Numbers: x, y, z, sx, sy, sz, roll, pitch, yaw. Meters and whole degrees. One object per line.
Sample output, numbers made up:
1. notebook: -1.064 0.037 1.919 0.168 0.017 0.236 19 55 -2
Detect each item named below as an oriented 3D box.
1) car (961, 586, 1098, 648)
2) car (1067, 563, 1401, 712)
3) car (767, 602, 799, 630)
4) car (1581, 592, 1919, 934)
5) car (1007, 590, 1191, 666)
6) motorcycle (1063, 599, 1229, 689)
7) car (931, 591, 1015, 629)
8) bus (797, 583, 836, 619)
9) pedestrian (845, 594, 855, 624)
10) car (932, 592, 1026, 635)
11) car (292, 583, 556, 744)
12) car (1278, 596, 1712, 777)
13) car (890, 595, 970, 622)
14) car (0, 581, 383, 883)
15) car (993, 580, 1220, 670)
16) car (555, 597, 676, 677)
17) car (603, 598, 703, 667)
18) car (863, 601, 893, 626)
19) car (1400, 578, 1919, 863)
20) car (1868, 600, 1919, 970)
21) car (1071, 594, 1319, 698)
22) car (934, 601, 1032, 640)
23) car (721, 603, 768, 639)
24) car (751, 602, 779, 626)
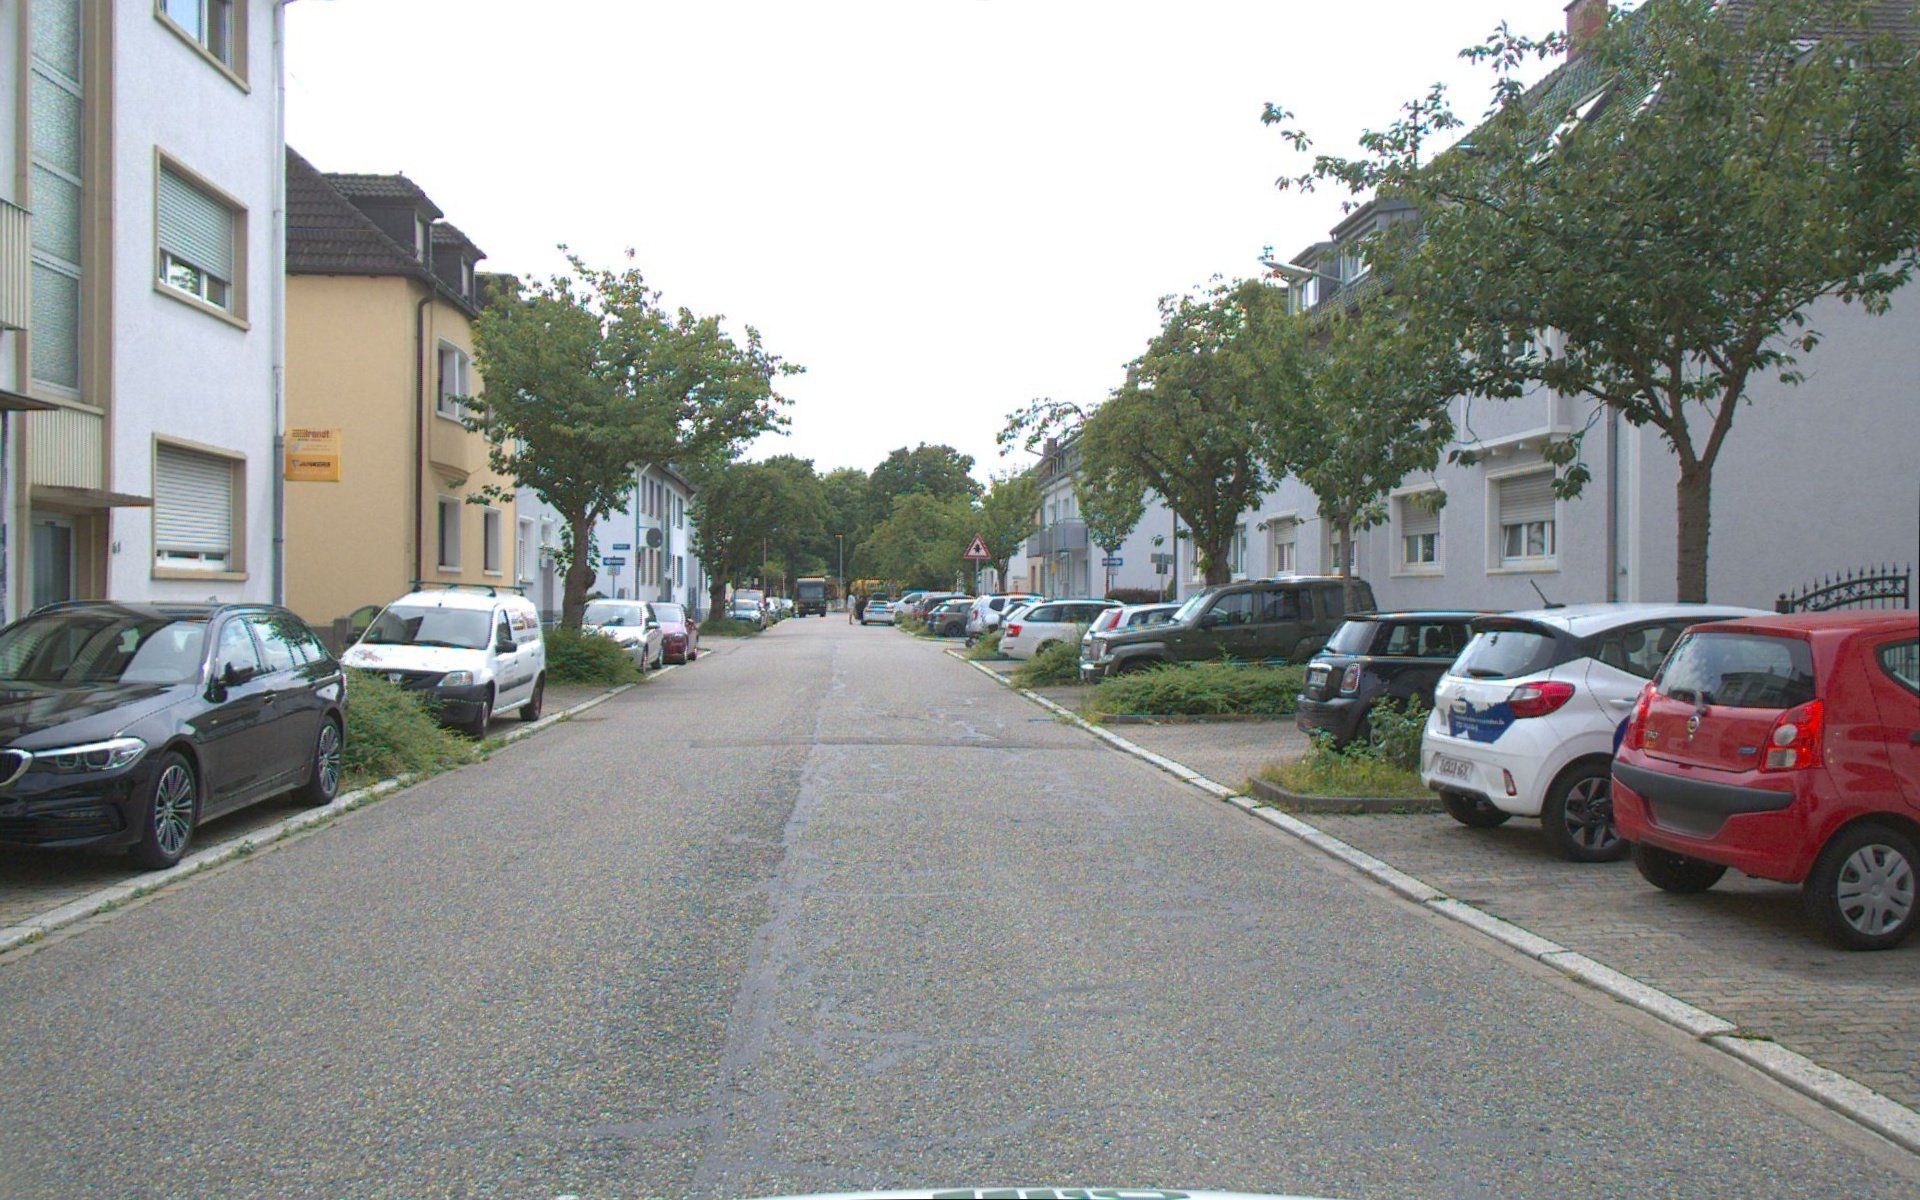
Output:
1. car: 2.030 0.500 48.902 3.846 1.661 1.866 -2 0 -3
2. car: 3.864 0.517 23.804 4.434 1.890 1.792 -2 0 -2
3. car: -9.727 0.875 91.051 1.619 1.487 3.548 -2 0 -5
4. car: 5.424 0.669 8.321 3.911 1.435 1.765 -2 0 -7
5. car: 3.104 0.618 37.515 3.909 1.534 1.711 -2 0 -4
6. motorcycle: 3.165 0.740 28.302 2.650 1.490 1.029 0 0 -8
7. car: 0.564 0.456 74.876 3.673 1.592 1.772 -2 0 -3
8. bus: -11.705 0.103 135.625 2.945 2.809 8.916 -2 0 -4
9. pedestrian: -6.337 0.530 95.186 0.511 1.734 0.444 -2 0 -1
10. car: 0.768 0.550 67.463 3.673 1.592 1.772 -2 0 -3
11. car: -6.142 0.666 19.505 1.880 1.609 4.379 -2 0 -4
12. car: 5.001 0.772 15.758 3.474 1.478 1.807 -2 0 -5
13. car: -1.893 0.518 104.659 4.879 1.545 1.766 -2 0 -6
14. car: -5.331 0.688 10.706 1.755 1.518 4.808 1 -1 -4
15. car: 3.034 0.517 34.936 4.523 1.693 1.891 -2 0 -4
16. car: -7.167 0.734 34.792 1.737 1.416 4.272 6 -1 -3
17. car: -7.375 0.760 40.103 1.840 1.512 4.508 -2 0 -4
18. car: -4.757 0.763 96.044 1.653 1.378 3.824 -2 0 -3
19. car: 5.088 0.684 10.725 3.911 1.557 1.765 -2 0 -7
20. car: 5.659 0.671 6.023 3.673 1.467 1.863 -2 0 -3
21. car: 3.730 0.707 26.584 3.557 1.480 1.770 -2 0 -8
22. car: 0.868 0.784 64.428 3.673 1.389 1.772 -2 0 -3
23. car: -10.169 0.977 78.287 1.727 1.581 3.730 -2 0 -1
24. car: -11.944 0.848 101.452 1.620 1.401 3.716 -2 0 -6
